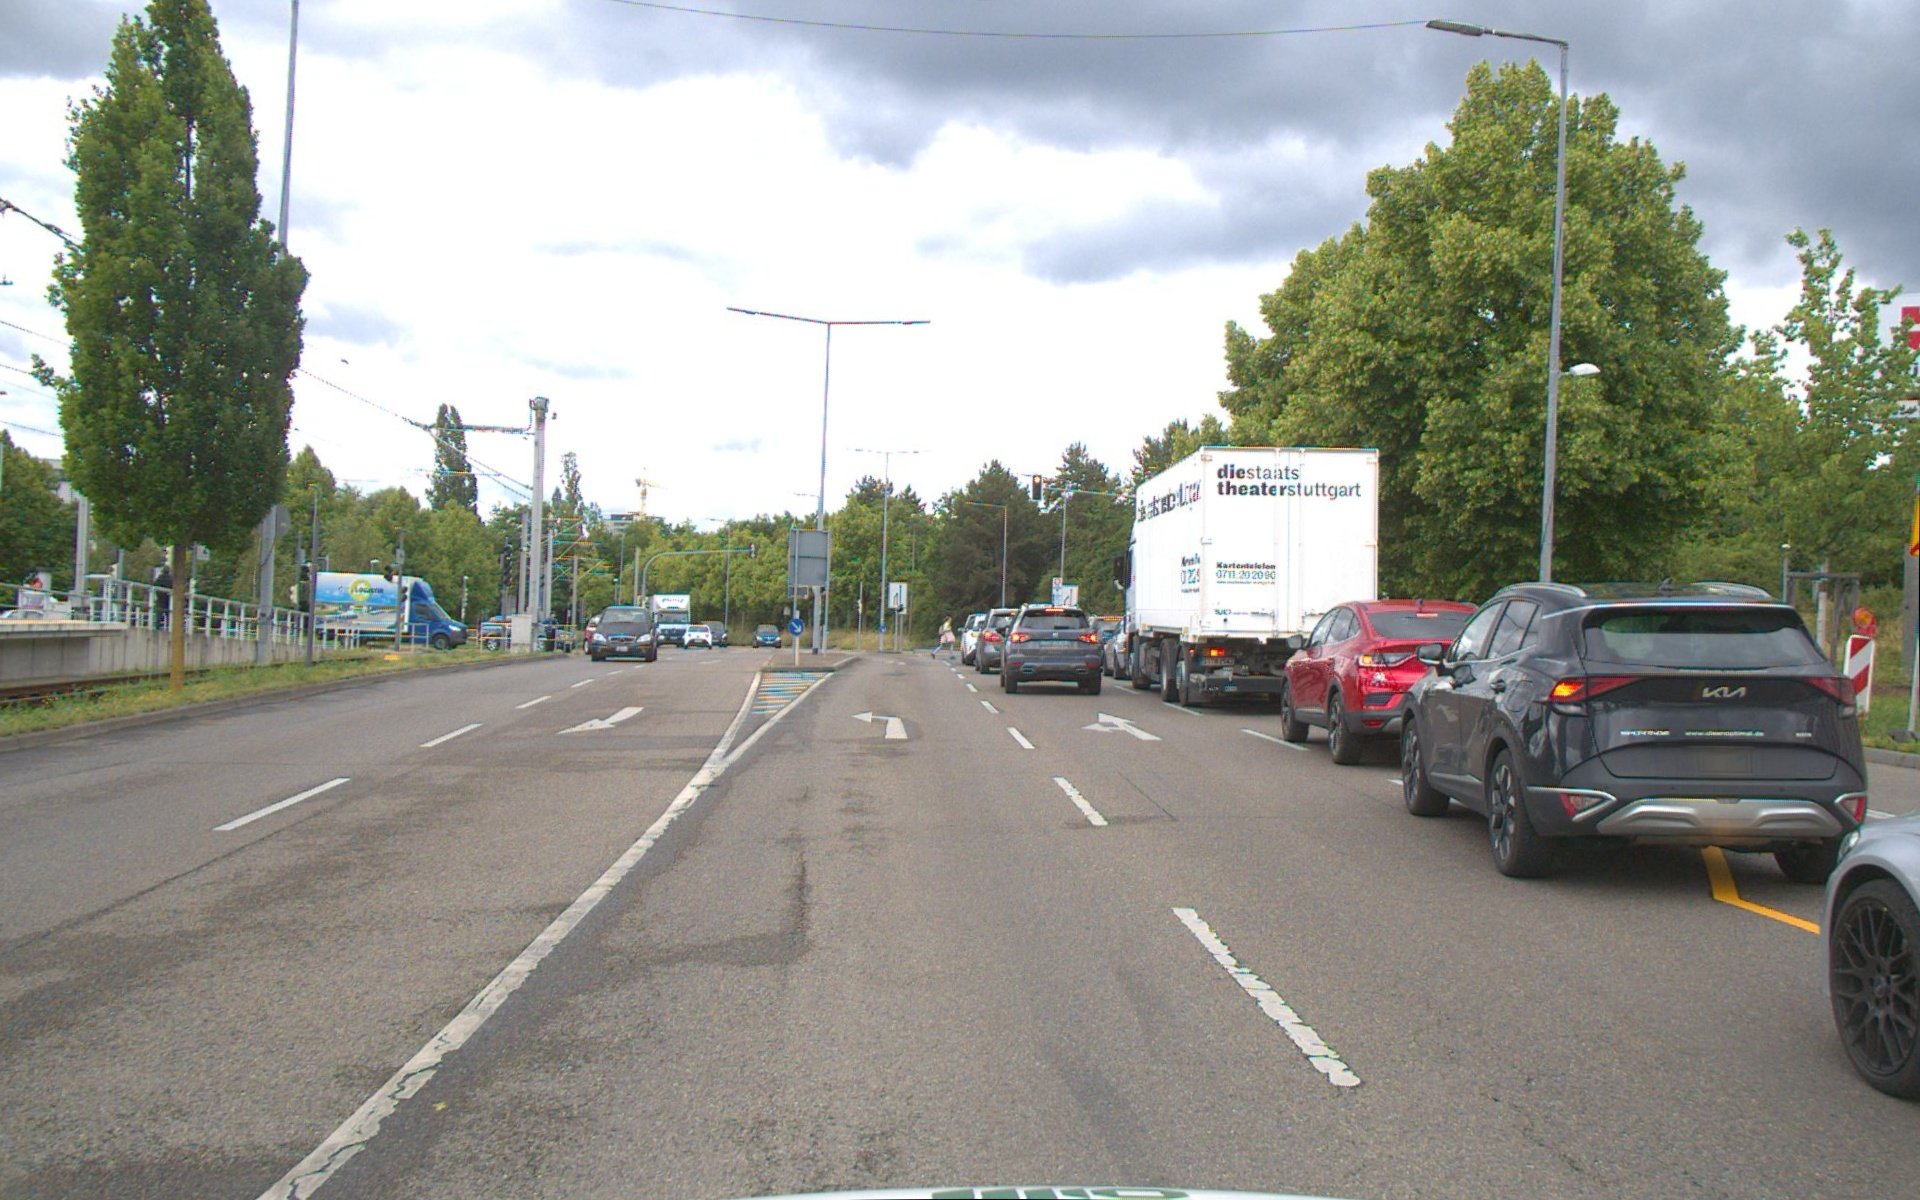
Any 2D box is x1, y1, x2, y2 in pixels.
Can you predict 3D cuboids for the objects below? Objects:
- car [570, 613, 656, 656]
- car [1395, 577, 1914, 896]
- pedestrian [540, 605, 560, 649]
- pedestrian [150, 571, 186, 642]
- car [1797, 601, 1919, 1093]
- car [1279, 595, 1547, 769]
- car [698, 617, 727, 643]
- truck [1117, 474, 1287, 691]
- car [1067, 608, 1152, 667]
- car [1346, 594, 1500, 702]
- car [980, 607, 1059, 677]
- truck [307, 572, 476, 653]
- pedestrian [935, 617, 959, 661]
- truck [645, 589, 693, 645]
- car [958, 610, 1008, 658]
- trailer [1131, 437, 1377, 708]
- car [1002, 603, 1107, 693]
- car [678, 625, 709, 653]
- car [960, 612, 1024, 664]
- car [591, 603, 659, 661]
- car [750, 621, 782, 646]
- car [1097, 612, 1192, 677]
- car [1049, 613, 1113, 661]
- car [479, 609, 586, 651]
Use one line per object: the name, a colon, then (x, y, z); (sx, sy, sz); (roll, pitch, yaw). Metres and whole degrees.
car: (-13.724, 1.318, 65.280); (1.691, 1.514, 4.030); (0, 1, -38)
car: (4.055, 0.666, 10.500); (1.805, 1.588, 4.407); (0, 0, 5)
pedestrian: (-15.085, 0.973, 60.829); (0.346, 1.583, 0.652); (1, 2, 32)
pedestrian: (-21.009, 0.169, 43.874); (0.561, 1.859, 0.792); (1, -1, -5)
car: (3.660, 0.756, 3.479); (1.637, 1.473, 4.490); (1, 0, 2)
car: (4.497, 0.742, 17.061); (1.672, 1.551, 4.320); (0, 0, 1)
car: (-17.809, 2.133, 118.908); (1.881, 1.758, 3.990); (0, 0, -10)
truck: (4.428, -0.288, 30.945); (2.518, 3.770, 4.105); (0, -1, -1)
car: (3.896, 0.994, 43.699); (1.788, 1.460, 4.211); (0, -1, -1)
car: (7.629, 0.750, 27.509); (1.538, 1.598, 3.058); (2, 1, -3)
car: (1.389, 0.974, 39.959); (1.762, 1.550, 4.187); (0, 0, 0)
truck: (-26.664, 0.571, 77.830); (7.101, 3.661, 2.689); (0, 2, -7)
pedestrian: (-0.471, 1.426, 60.725); (0.846, 1.587, 0.518); (0, 2, -4)
truck: (-20.711, 1.184, 117.373); (2.615, 3.713, 9.466); (2, -1, -14)
car: (0.725, 1.120, 54.035); (1.504, 1.531, 2.669); (0, -1, -2)
trailer: (4.520, -0.348, 27.004); (2.513, 3.770, 7.762); (0, -1, -1)
car: (1.653, 0.829, 30.039); (1.663, 1.512, 3.999); (0, -1, 0)
car: (-16.626, 2.434, 103.101); (1.744, 1.534, 3.737); (2, 1, -11)
car: (0.911, 1.111, 49.066); (1.687, 1.447, 4.354); (0, -1, -2)
car: (-9.805, 0.943, 48.570); (1.693, 1.601, 3.700); (1, -1, -8)
car: (-13.235, 2.292, 112.770); (1.881, 1.604, 3.990); (0, 0, -10)
car: (4.099, 0.959, 37.291); (1.774, 1.378, 4.118); (0, 0, 1)
car: (3.726, 1.133, 51.240); (1.515, 1.428, 3.997); (0, -1, -3)
car: (-17.936, 1.256, 69.485); (3.902, 1.623, 2.002); (1, 2, 7)
